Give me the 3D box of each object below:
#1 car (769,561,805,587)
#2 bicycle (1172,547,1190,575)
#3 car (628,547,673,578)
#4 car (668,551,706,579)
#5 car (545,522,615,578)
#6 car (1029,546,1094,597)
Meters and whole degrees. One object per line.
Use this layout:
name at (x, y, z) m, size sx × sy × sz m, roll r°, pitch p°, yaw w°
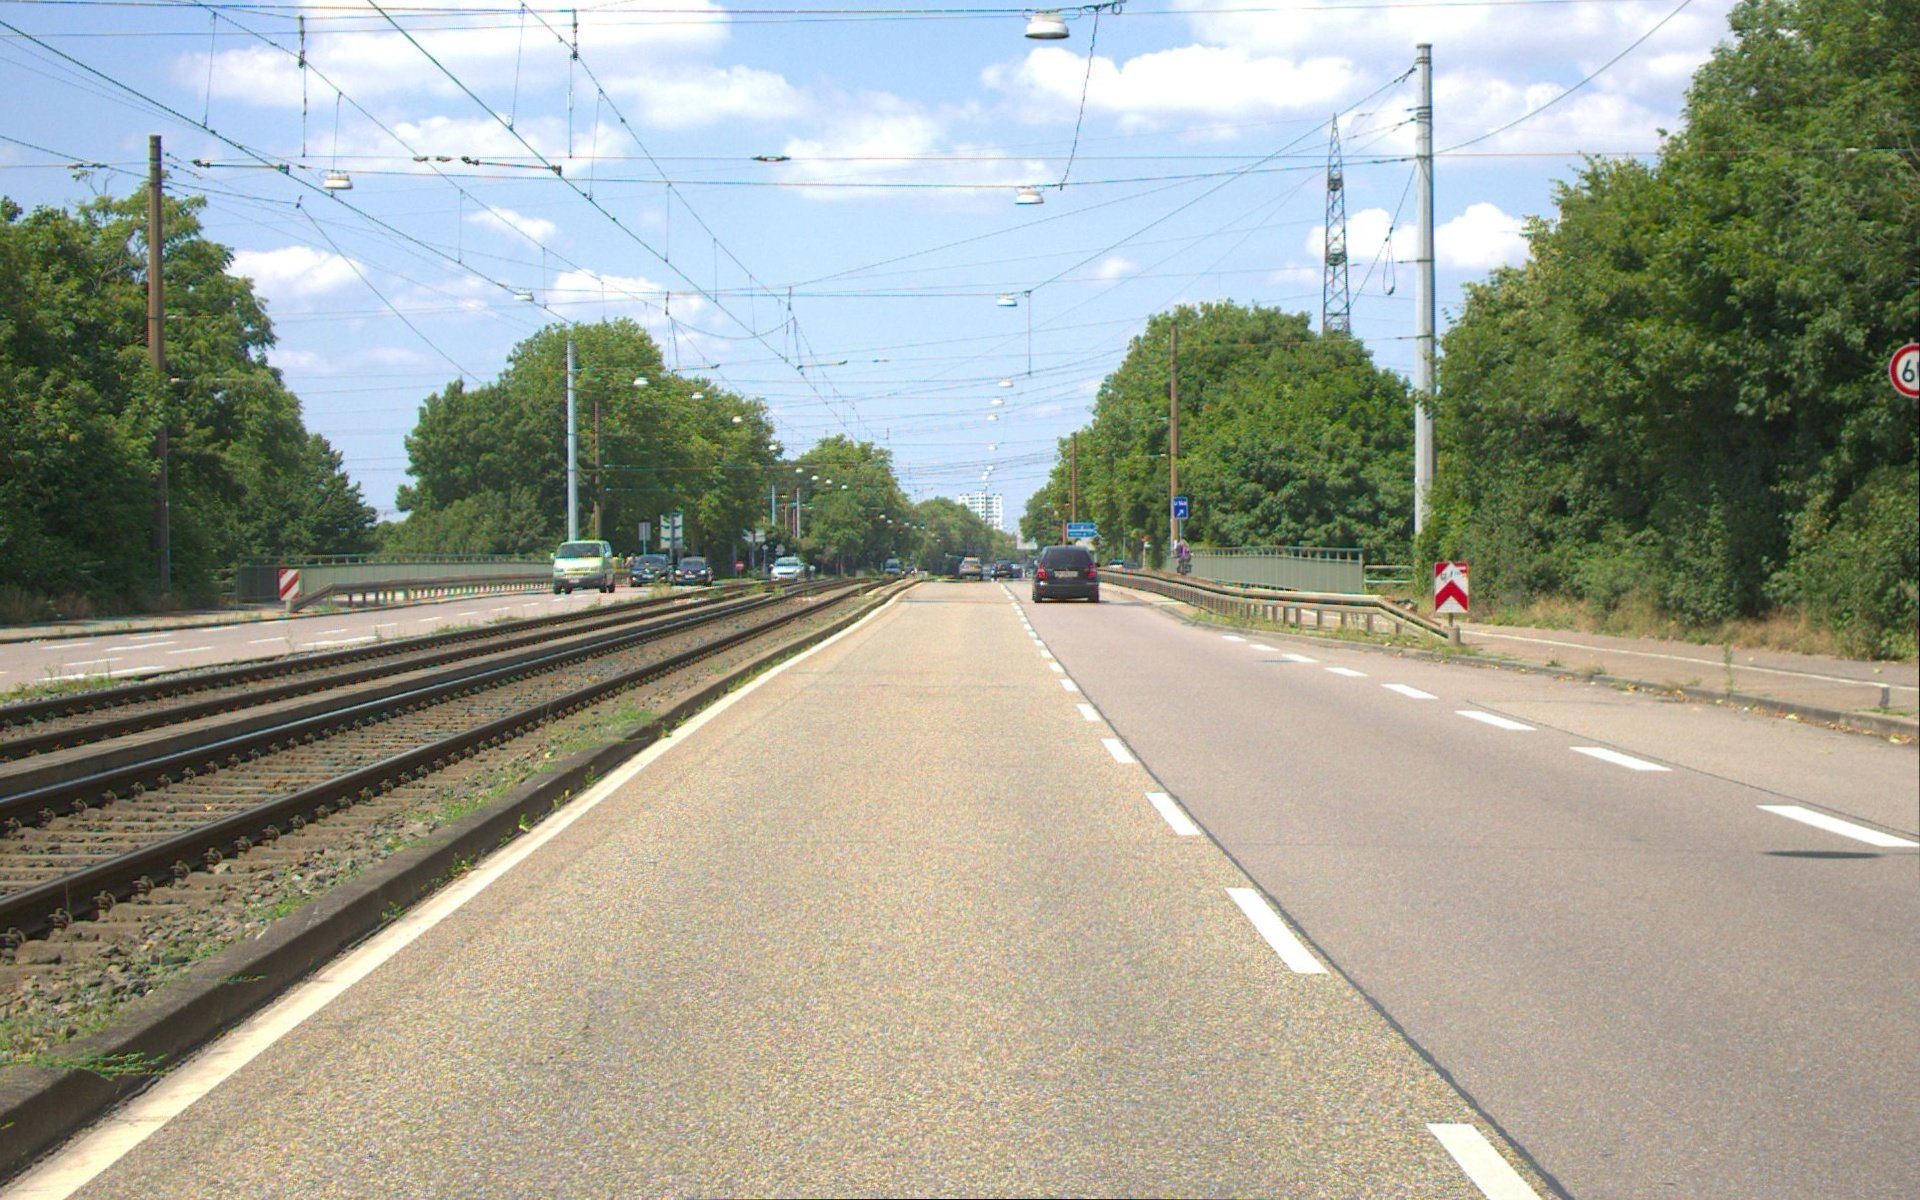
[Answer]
car at (-9.888, -1.477, 196.687) m, size 1.711 × 1.415 × 4.624 m, roll -1°, pitch 0°, yaw 1°
bicycle at (8.147, -1.438, 126.638) m, size 0.559 × 1.021 × 1.848 m, roll -1°, pitch 0°, yaw 1°
car at (-13.692, -1.648, 152.047) m, size 1.563 × 1.343 × 3.929 m, roll -1°, pitch 0°, yaw 1°
car at (-13.639, -1.748, 171.975) m, size 1.574 × 1.395 × 3.938 m, roll -1°, pitch 0°, yaw 0°
car at (-13.522, -1.755, 122.459) m, size 1.811 × 1.919 × 5.179 m, roll -1°, pitch 0°, yaw 1°
car at (2.743, -0.782, 93.509) m, size 1.586 × 1.338 × 3.272 m, roll -1°, pitch 1°, yaw -1°
